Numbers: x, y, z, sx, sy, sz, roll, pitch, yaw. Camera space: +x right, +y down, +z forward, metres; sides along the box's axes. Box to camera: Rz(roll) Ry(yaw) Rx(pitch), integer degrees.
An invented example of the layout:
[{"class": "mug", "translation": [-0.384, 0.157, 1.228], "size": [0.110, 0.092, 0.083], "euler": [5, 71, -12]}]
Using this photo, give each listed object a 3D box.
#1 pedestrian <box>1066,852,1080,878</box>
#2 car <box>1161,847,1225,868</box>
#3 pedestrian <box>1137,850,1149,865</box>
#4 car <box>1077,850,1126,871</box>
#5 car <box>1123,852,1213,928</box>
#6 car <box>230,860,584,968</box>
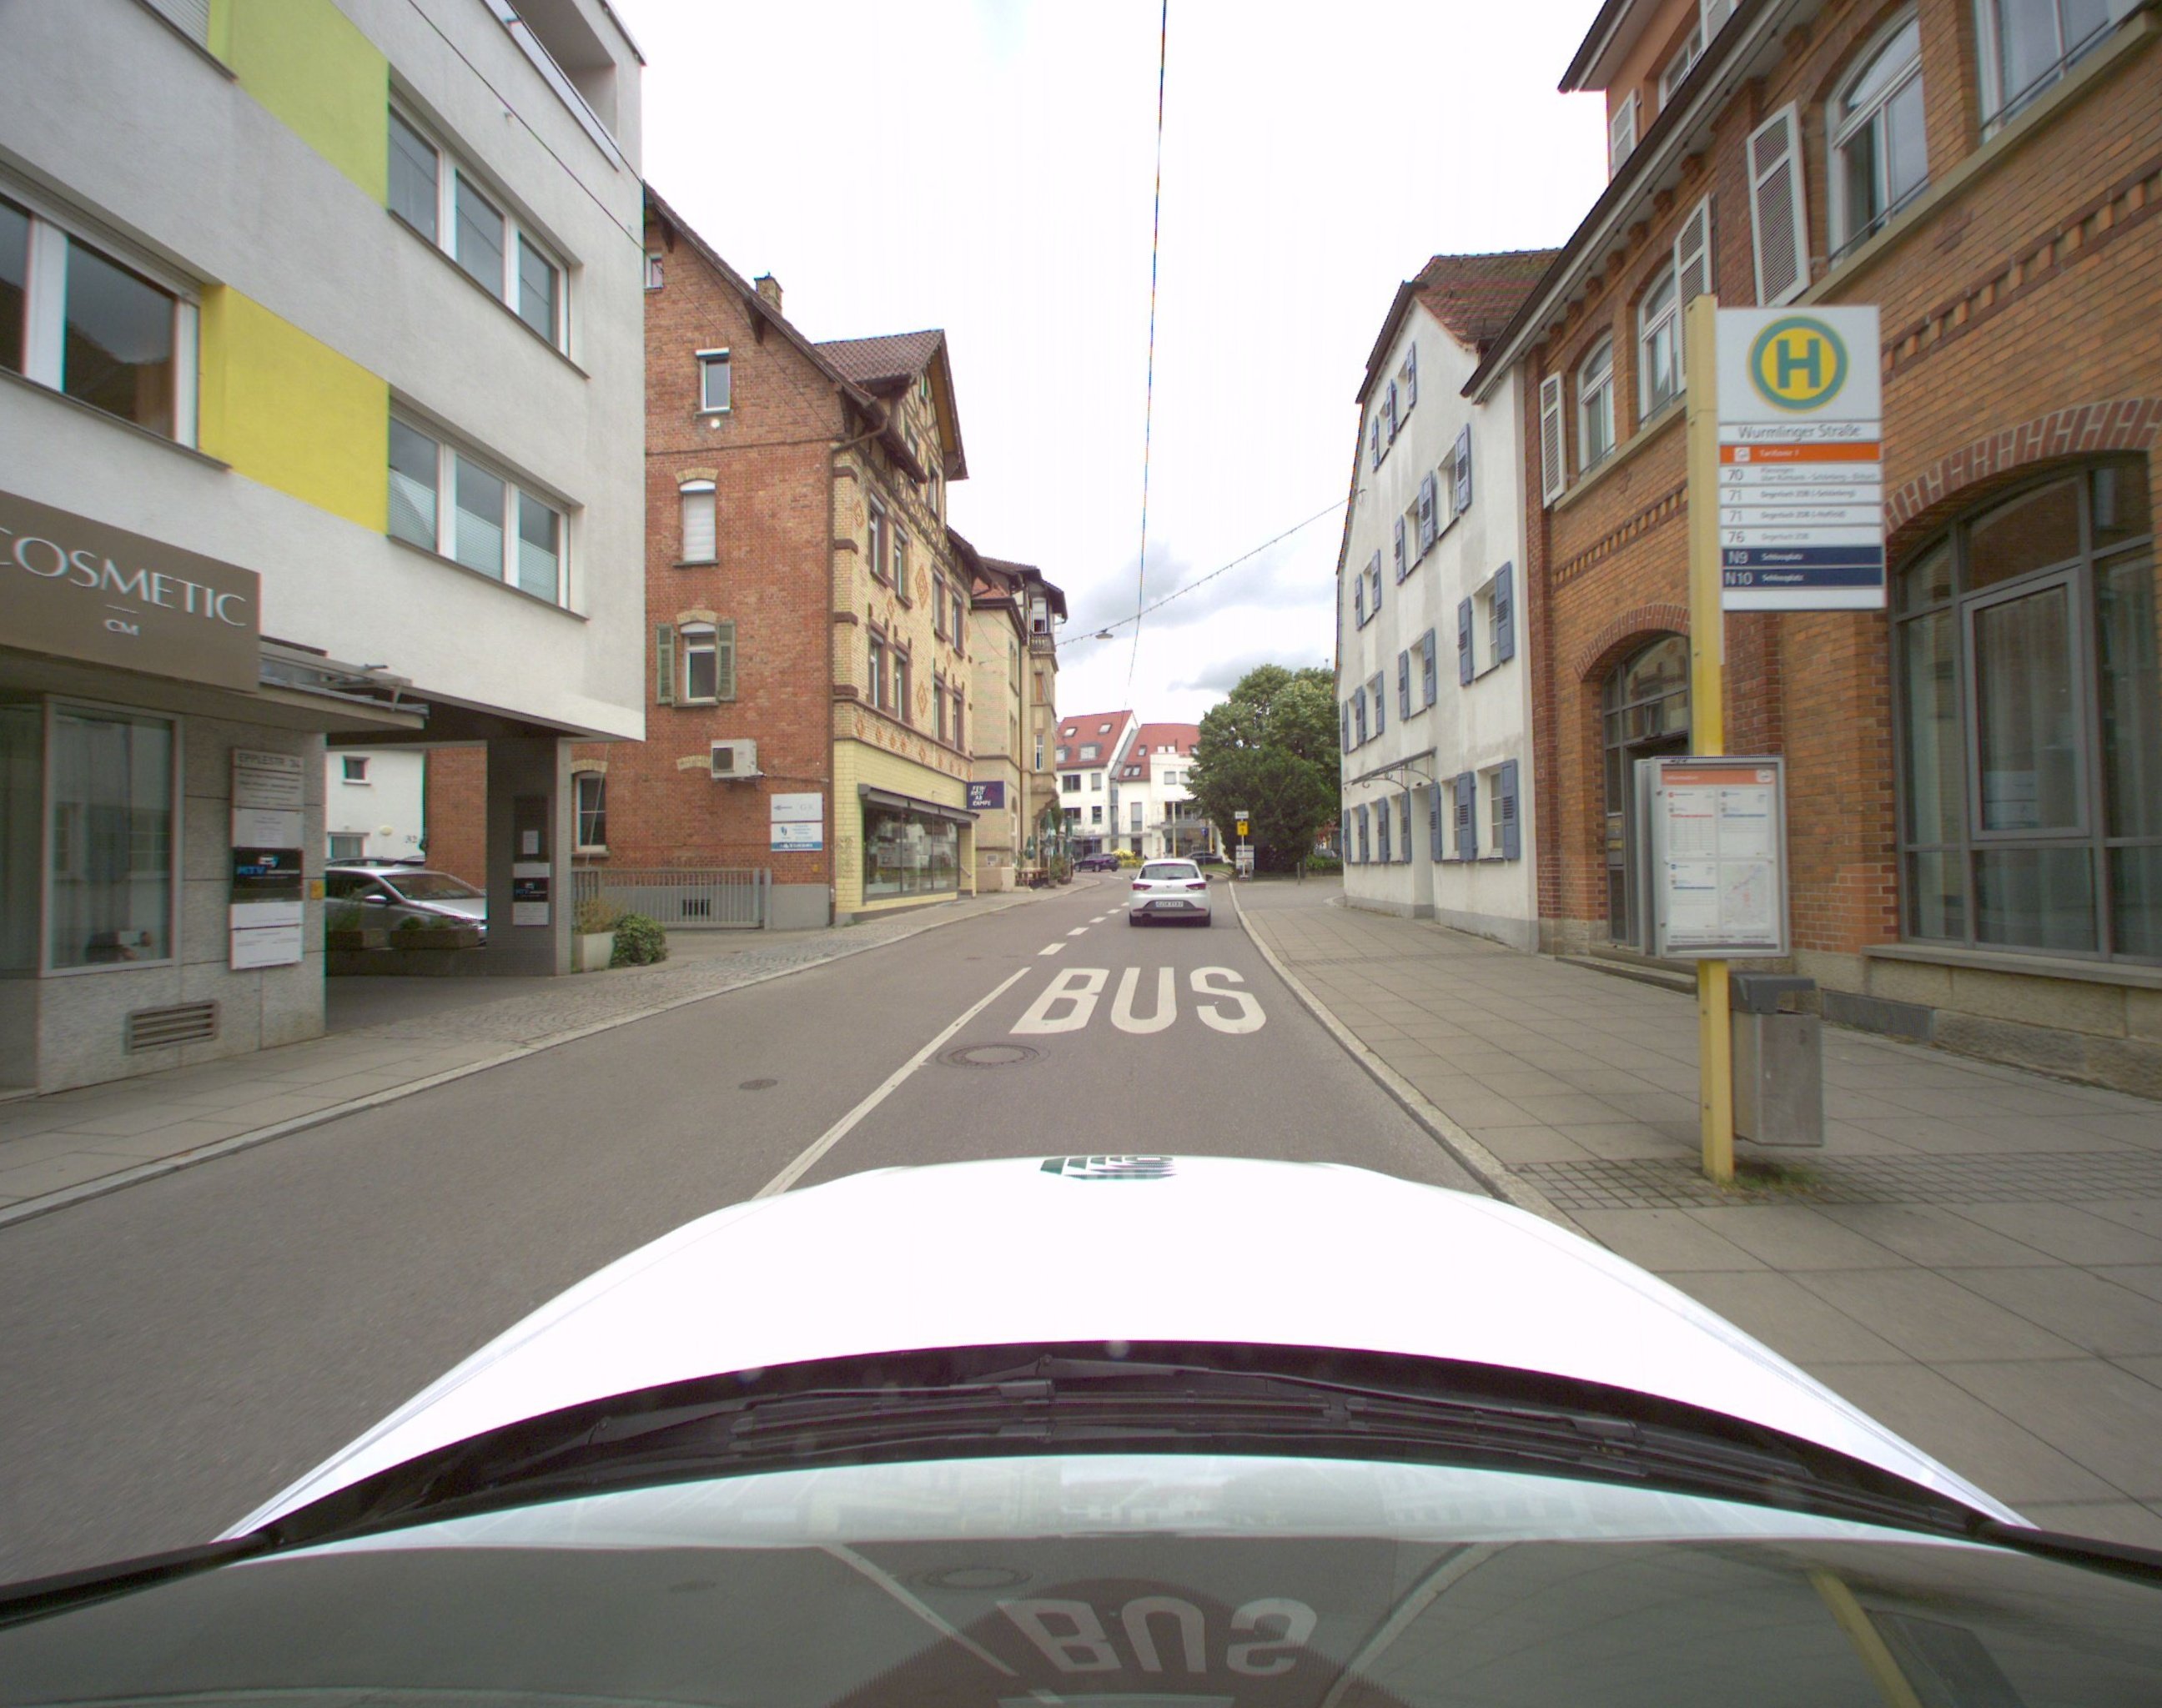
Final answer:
[{"class": "pedestrian", "translation": [-0.501, 0.679, 50.388], "size": [0.831, 1.552, 0.627], "euler": [-1, -1, 0]}, {"class": "car", "translation": [8.867, 0.287, 64.705], "size": [4.878, 1.557, 2.253], "euler": [-1, 0, 5]}, {"class": "pedestrian", "translation": [5.402, 0.274, 70.732], "size": [0.715, 1.312, 0.795], "euler": [-1, 0, -22]}, {"class": "car", "translation": [1.522, 0.502, 62.244], "size": [1.825, 1.480, 3.829], "euler": [-2, 1, -35]}, {"class": "car", "translation": [1.995, 0.731, 18.483], "size": [1.802, 1.480, 3.878], "euler": [-1, 1, 7]}, {"class": "car", "translation": [-10.498, 0.891, 12.929], "size": [3.971, 1.530, 2.001], "euler": [-1, 0, 2]}]
